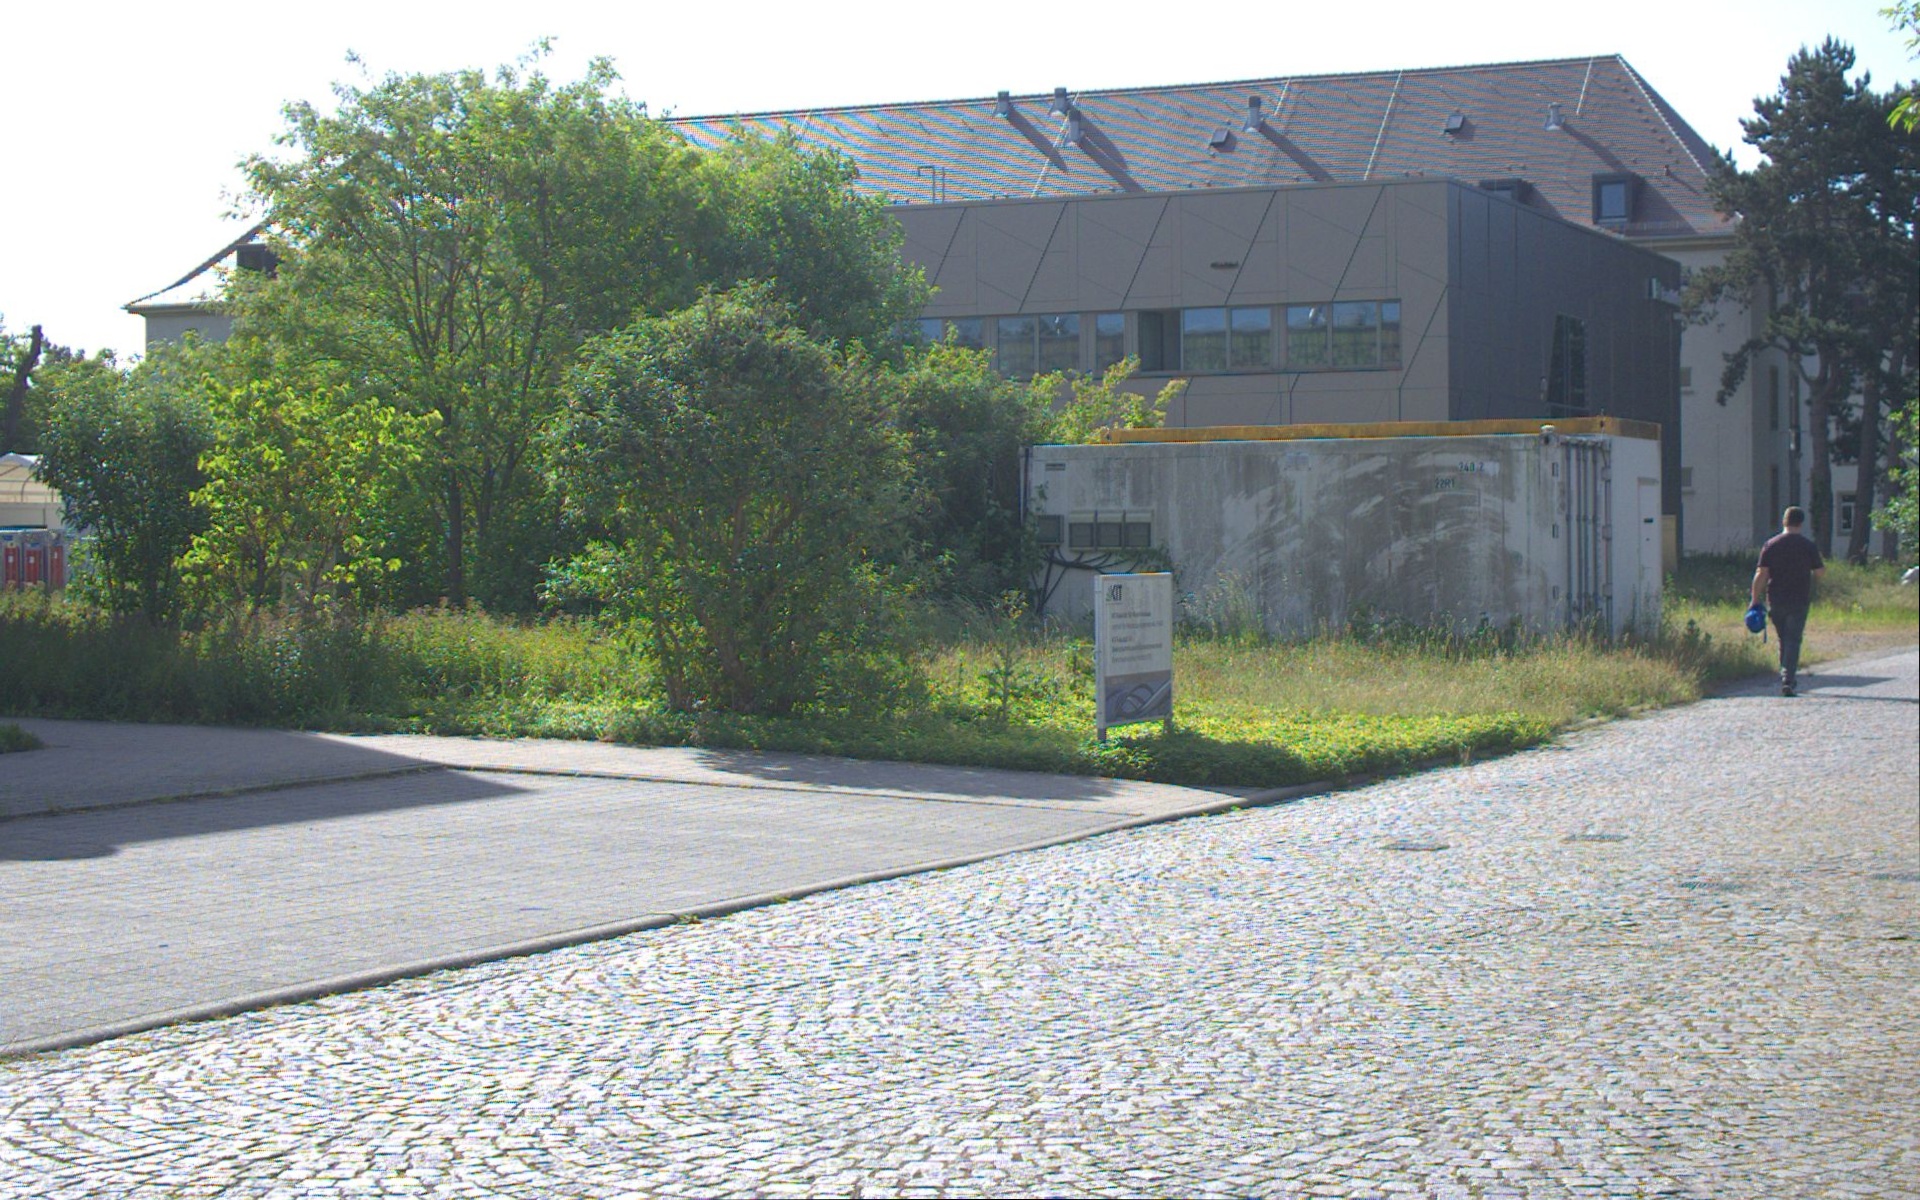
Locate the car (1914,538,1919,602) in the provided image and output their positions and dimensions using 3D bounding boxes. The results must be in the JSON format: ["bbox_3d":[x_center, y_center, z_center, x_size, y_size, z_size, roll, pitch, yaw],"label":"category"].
[{"bbox_3d":[23.490,-0.686,77.182,3.837,1.436,1.581,0,1,21],"label":"car"}]

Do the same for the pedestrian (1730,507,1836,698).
[{"bbox_3d":[7.880,0.011,32.895,0.796,1.774,1.067,1,1,22],"label":"pedestrian"}]
